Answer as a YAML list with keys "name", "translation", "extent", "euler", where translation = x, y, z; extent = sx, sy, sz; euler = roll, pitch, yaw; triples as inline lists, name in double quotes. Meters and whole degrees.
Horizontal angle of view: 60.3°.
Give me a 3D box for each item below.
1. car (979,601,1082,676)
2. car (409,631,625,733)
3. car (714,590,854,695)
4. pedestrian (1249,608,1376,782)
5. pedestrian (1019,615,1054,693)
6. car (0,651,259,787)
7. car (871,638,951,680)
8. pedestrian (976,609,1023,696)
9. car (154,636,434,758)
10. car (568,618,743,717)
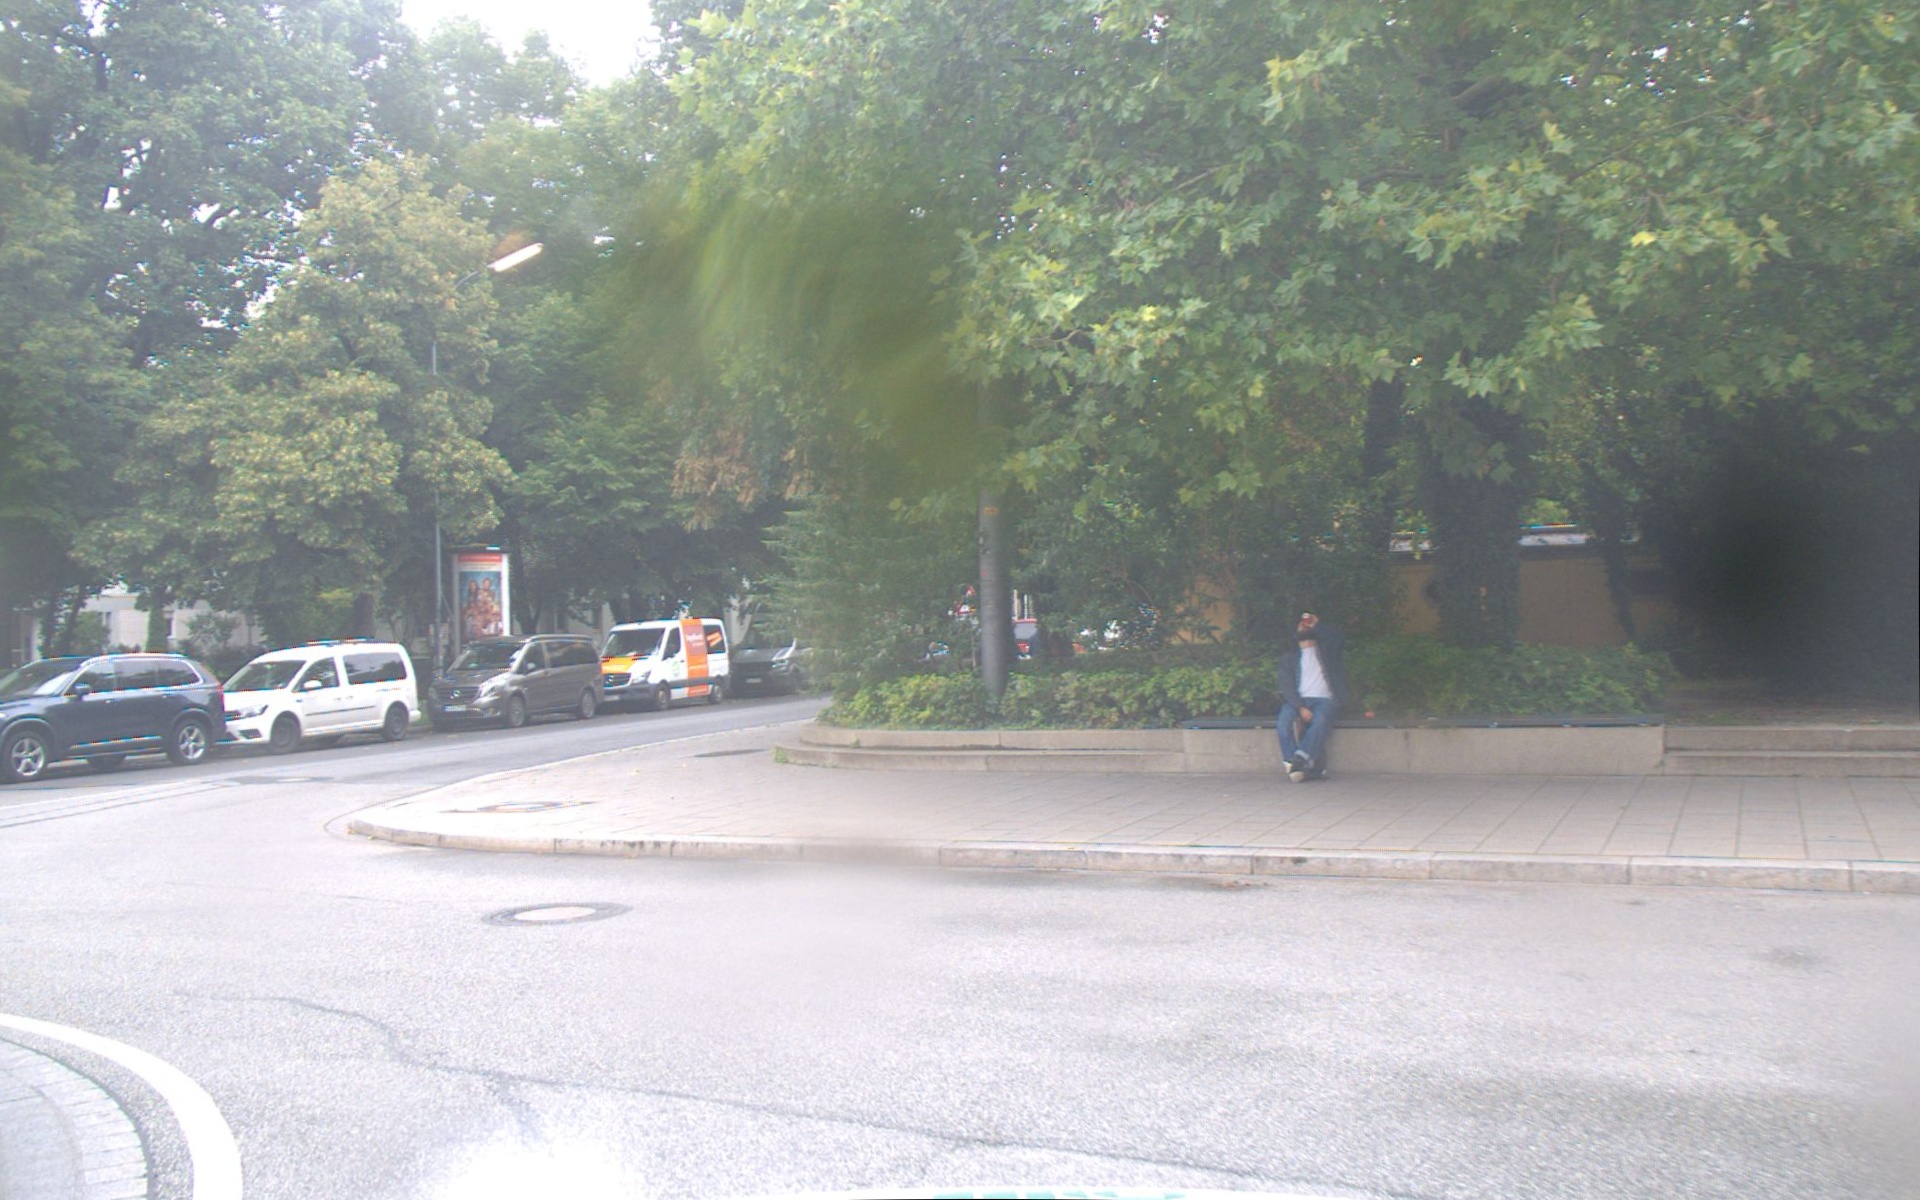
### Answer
- name: "car"
  translation: [2.073, 1.075, 46.941]
  extent: [1.870, 1.971, 4.972]
  euler: [-2, -1, 14]
- name: "car"
  translation: [-9.654, 1.736, 36.644]
  extent: [1.983, 1.941, 5.671]
  euler: [-4, -2, 15]
- name: "car"
  translation: [-5.416, 1.300, 51.965]
  extent: [2.126, 3.055, 6.237]
  euler: [-2, -1, 16]
- name: "pedestrian"
  translation: [2.975, 0.776, 13.905]
  extent: [0.754, 1.380, 1.130]
  euler: [-2, -1, 26]
- name: "pedestrian"
  translation: [1.700, 1.193, 36.677]
  extent: [0.621, 1.696, 0.696]
  euler: [-2, -1, -5]
- name: "car"
  translation: [-13.311, 1.724, 24.877]
  extent: [2.040, 1.749, 5.306]
  euler: [-2, -1, 19]
- name: "car"
  translation: [-1.817, 2.200, 62.723]
  extent: [1.951, 1.445, 4.132]
  euler: [-2, -1, 14]
- name: "pedestrian"
  translation: [0.878, 1.164, 36.882]
  extent: [0.805, 1.868, 0.950]
  euler: [-2, -1, -10]
- name: "car"
  translation: [-11.894, 1.681, 29.939]
  extent: [2.040, 1.937, 4.860]
  euler: [-2, -1, 18]
- name: "car"
  translation: [-7.855, 1.703, 43.320]
  extent: [2.040, 2.304, 5.605]
  euler: [-4, -2, 17]
